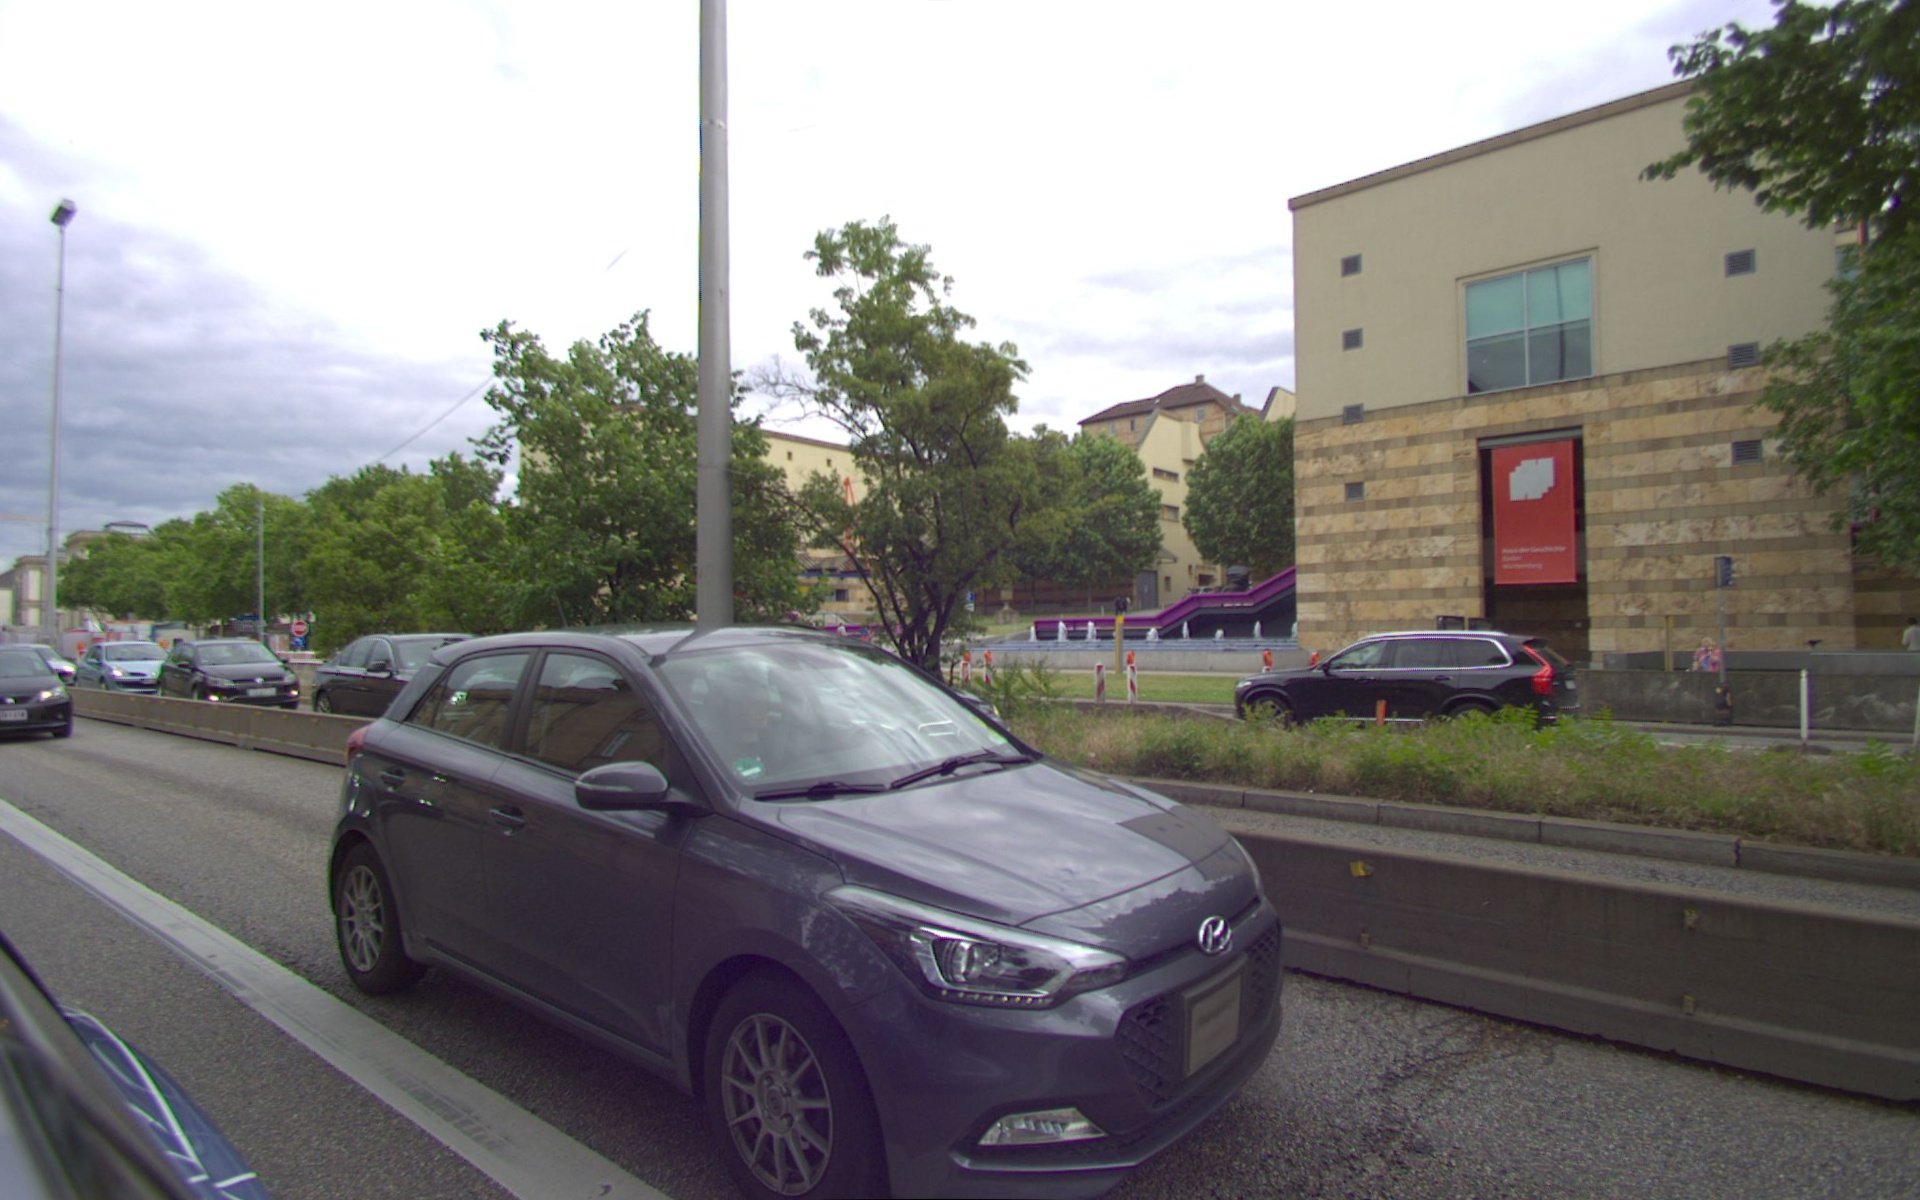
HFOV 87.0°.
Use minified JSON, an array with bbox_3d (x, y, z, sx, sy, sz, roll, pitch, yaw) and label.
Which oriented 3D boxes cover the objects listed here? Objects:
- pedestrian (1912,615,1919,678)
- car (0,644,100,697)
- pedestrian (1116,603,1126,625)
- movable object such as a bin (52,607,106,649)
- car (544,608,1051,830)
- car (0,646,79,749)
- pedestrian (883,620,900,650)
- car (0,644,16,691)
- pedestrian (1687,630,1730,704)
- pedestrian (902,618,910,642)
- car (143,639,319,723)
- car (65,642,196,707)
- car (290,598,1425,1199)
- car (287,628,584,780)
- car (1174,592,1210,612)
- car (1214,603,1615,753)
[{"bbox_3d":[24.346,1.165,25.329,0.620,1.581,0.434,-2,-3,33],"label":"pedestrian"},{"bbox_3d":[-29.007,2.169,31.637,4.687,1.492,1.865,-2,-2,31],"label":"car"},{"bbox_3d":[12.660,1.103,79.699,0.477,1.762,0.639,-2,-2,39],"label":"pedestrian"},{"bbox_3d":[-48.158,1.544,55.300,3.286,2.202,1.508,-2,-3,36],"label":"movable object such as a bin"},{"bbox_3d":[-1.663,0.905,9.128,4.763,1.511,1.798,-2,-3,39],"label":"car"},{"bbox_3d":[-15.337,1.485,15.905,3.617,1.484,1.592,-2,-3,38],"label":"car"},{"bbox_3d":[-4.418,2.267,65.160,0.803,1.867,0.685,-2,-1,41],"label":"pedestrian"},{"bbox_3d":[-35.395,2.400,36.126,4.038,1.633,1.760,-2,-2,36],"label":"car"},{"bbox_3d":[16.043,1.419,21.682,0.518,1.543,0.564,1,-3,-37],"label":"pedestrian"},{"bbox_3d":[-3.693,2.059,69.148,0.405,1.623,0.343,-2,-1,41],"label":"pedestrian"},{"bbox_3d":[-14.486,1.528,20.041,4.190,1.465,1.644,-2,-2,36],"label":"car"},{"bbox_3d":[-21.254,1.856,25.890,3.845,1.518,1.658,-2,-2,35],"label":"car"},{"bbox_3d":[-0.673,0.785,3.708,4.014,1.448,1.781,-2,-2,37],"label":"car"},{"bbox_3d":[-7.161,1.240,13.547,4.935,1.648,1.903,-2,-2,42],"label":"car"},{"bbox_3d":[21.558,0.184,94.048,1.610,1.811,3.753,-3,-2,43],"label":"car"},{"bbox_3d":[6.706,1.098,15.353,5.108,1.890,2.170,-3,-3,43],"label":"car"}]
